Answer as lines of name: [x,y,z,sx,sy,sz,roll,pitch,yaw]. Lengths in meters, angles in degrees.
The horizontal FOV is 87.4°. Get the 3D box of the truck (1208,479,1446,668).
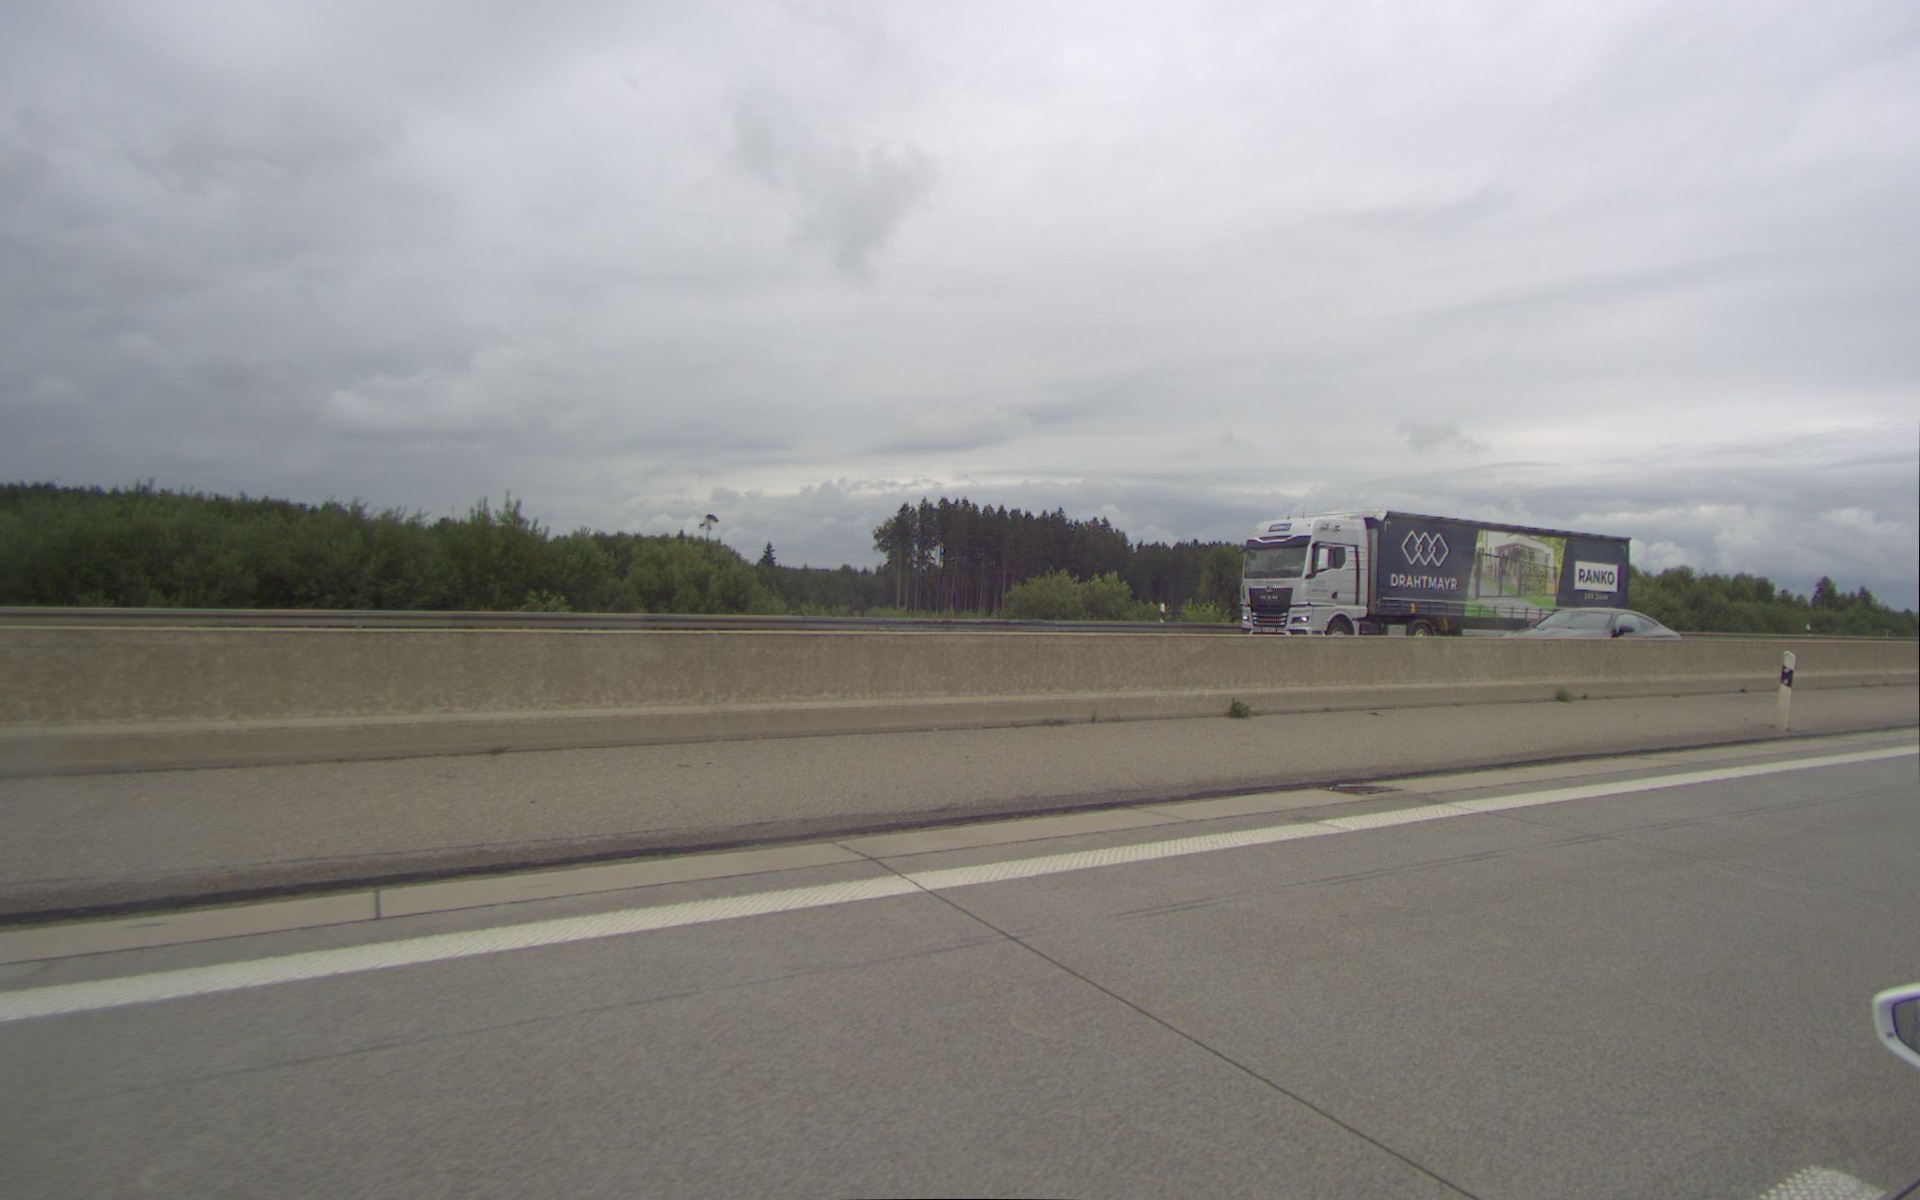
truck: [10.615,-0.664,29.058,5.800,4.883,3.569,1,0,-31]

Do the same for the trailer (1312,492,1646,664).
trailer: [17.413,-0.558,33.150,12.758,4.864,3.580,1,0,-31]

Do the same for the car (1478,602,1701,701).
car: [12.687,0.960,20.200,4.474,1.762,1.983,1,0,-31]
